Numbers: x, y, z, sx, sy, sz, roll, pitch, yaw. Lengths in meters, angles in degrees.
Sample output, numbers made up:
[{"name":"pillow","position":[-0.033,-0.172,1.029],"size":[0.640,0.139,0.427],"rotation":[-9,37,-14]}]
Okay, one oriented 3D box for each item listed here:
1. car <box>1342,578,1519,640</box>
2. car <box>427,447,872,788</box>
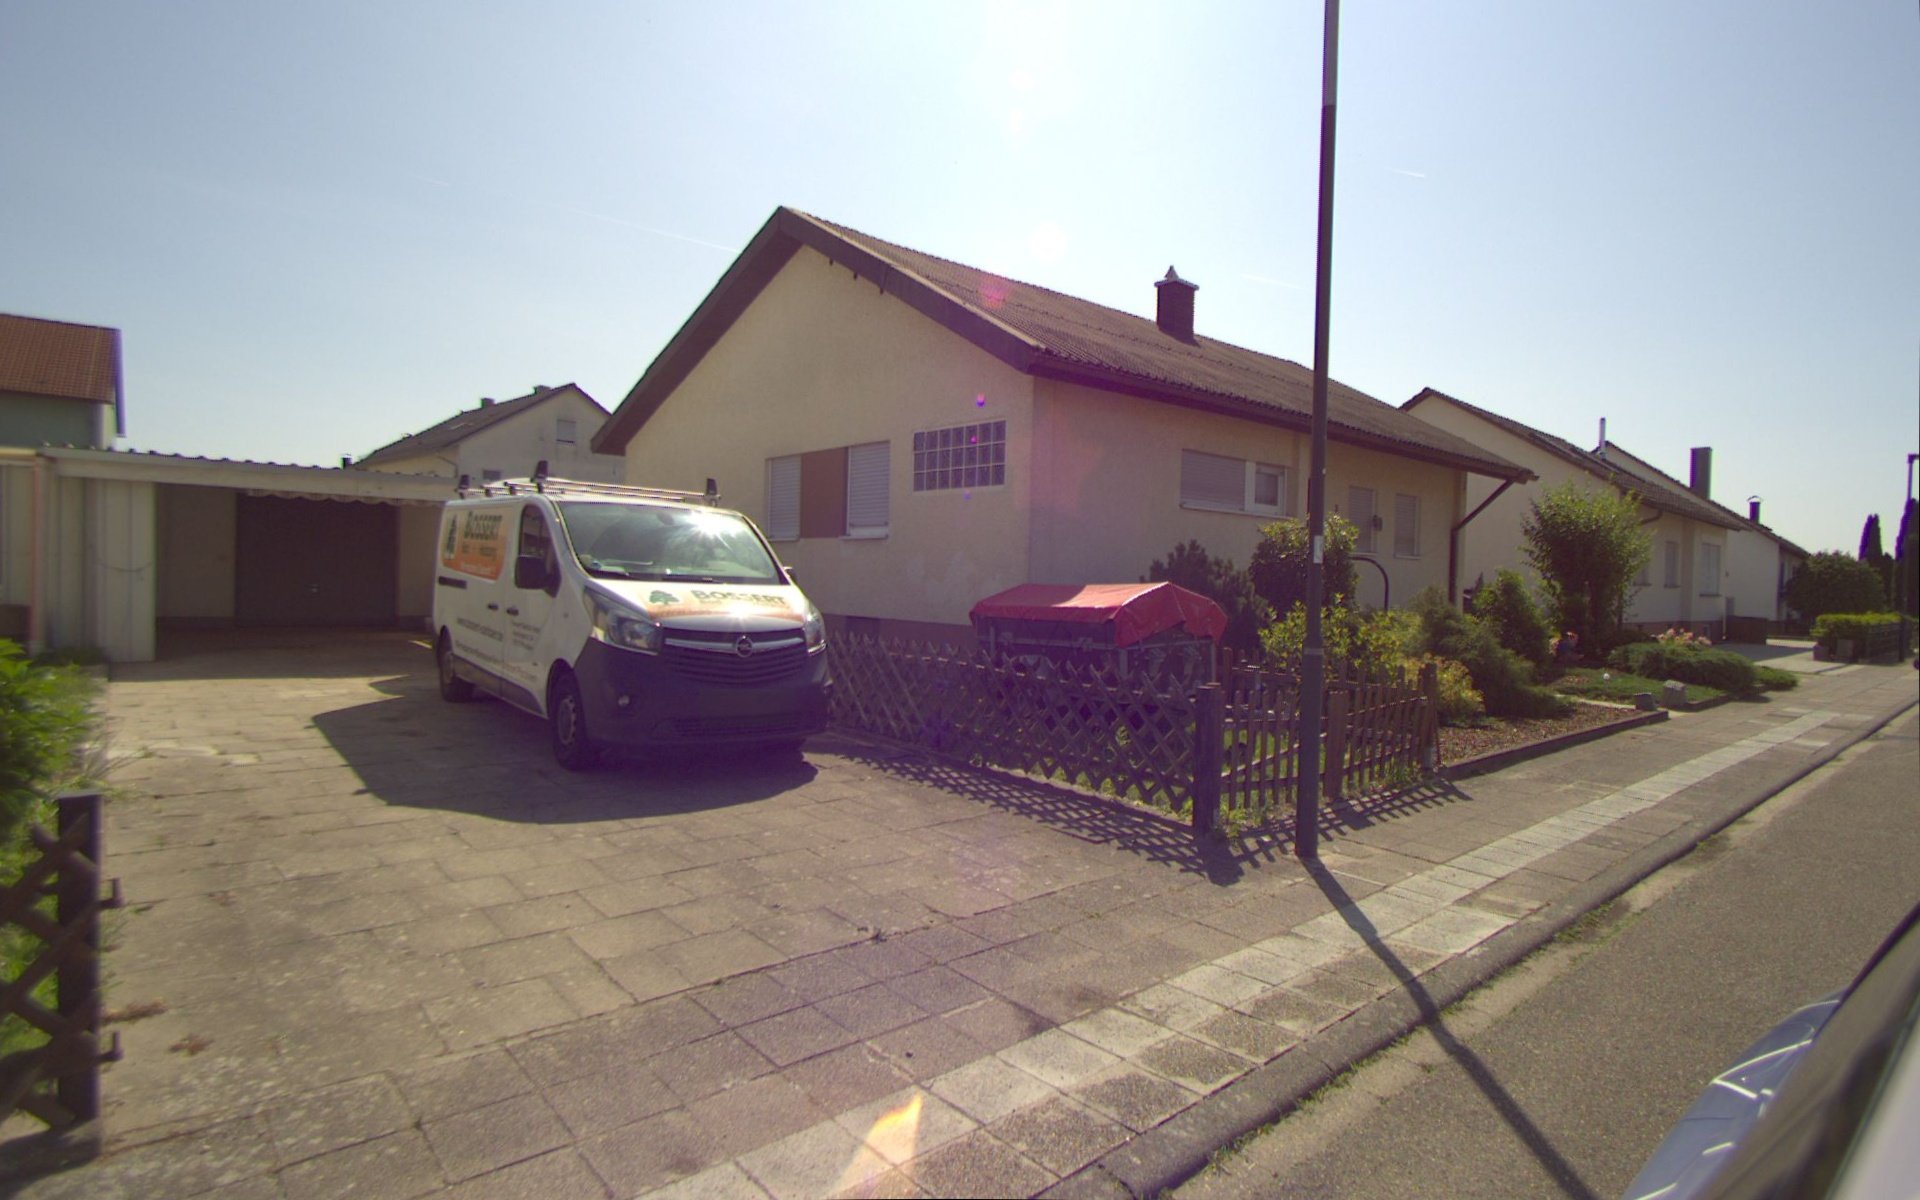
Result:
[{"name":"car","position":[12.669,0.187,27.386],"size":[3.988,1.439,1.667],"rotation":[4,3,44]},{"name":"car","position":[-2.935,-0.012,8.578],"size":[1.834,2.038,5.009],"rotation":[0,2,-39]}]
